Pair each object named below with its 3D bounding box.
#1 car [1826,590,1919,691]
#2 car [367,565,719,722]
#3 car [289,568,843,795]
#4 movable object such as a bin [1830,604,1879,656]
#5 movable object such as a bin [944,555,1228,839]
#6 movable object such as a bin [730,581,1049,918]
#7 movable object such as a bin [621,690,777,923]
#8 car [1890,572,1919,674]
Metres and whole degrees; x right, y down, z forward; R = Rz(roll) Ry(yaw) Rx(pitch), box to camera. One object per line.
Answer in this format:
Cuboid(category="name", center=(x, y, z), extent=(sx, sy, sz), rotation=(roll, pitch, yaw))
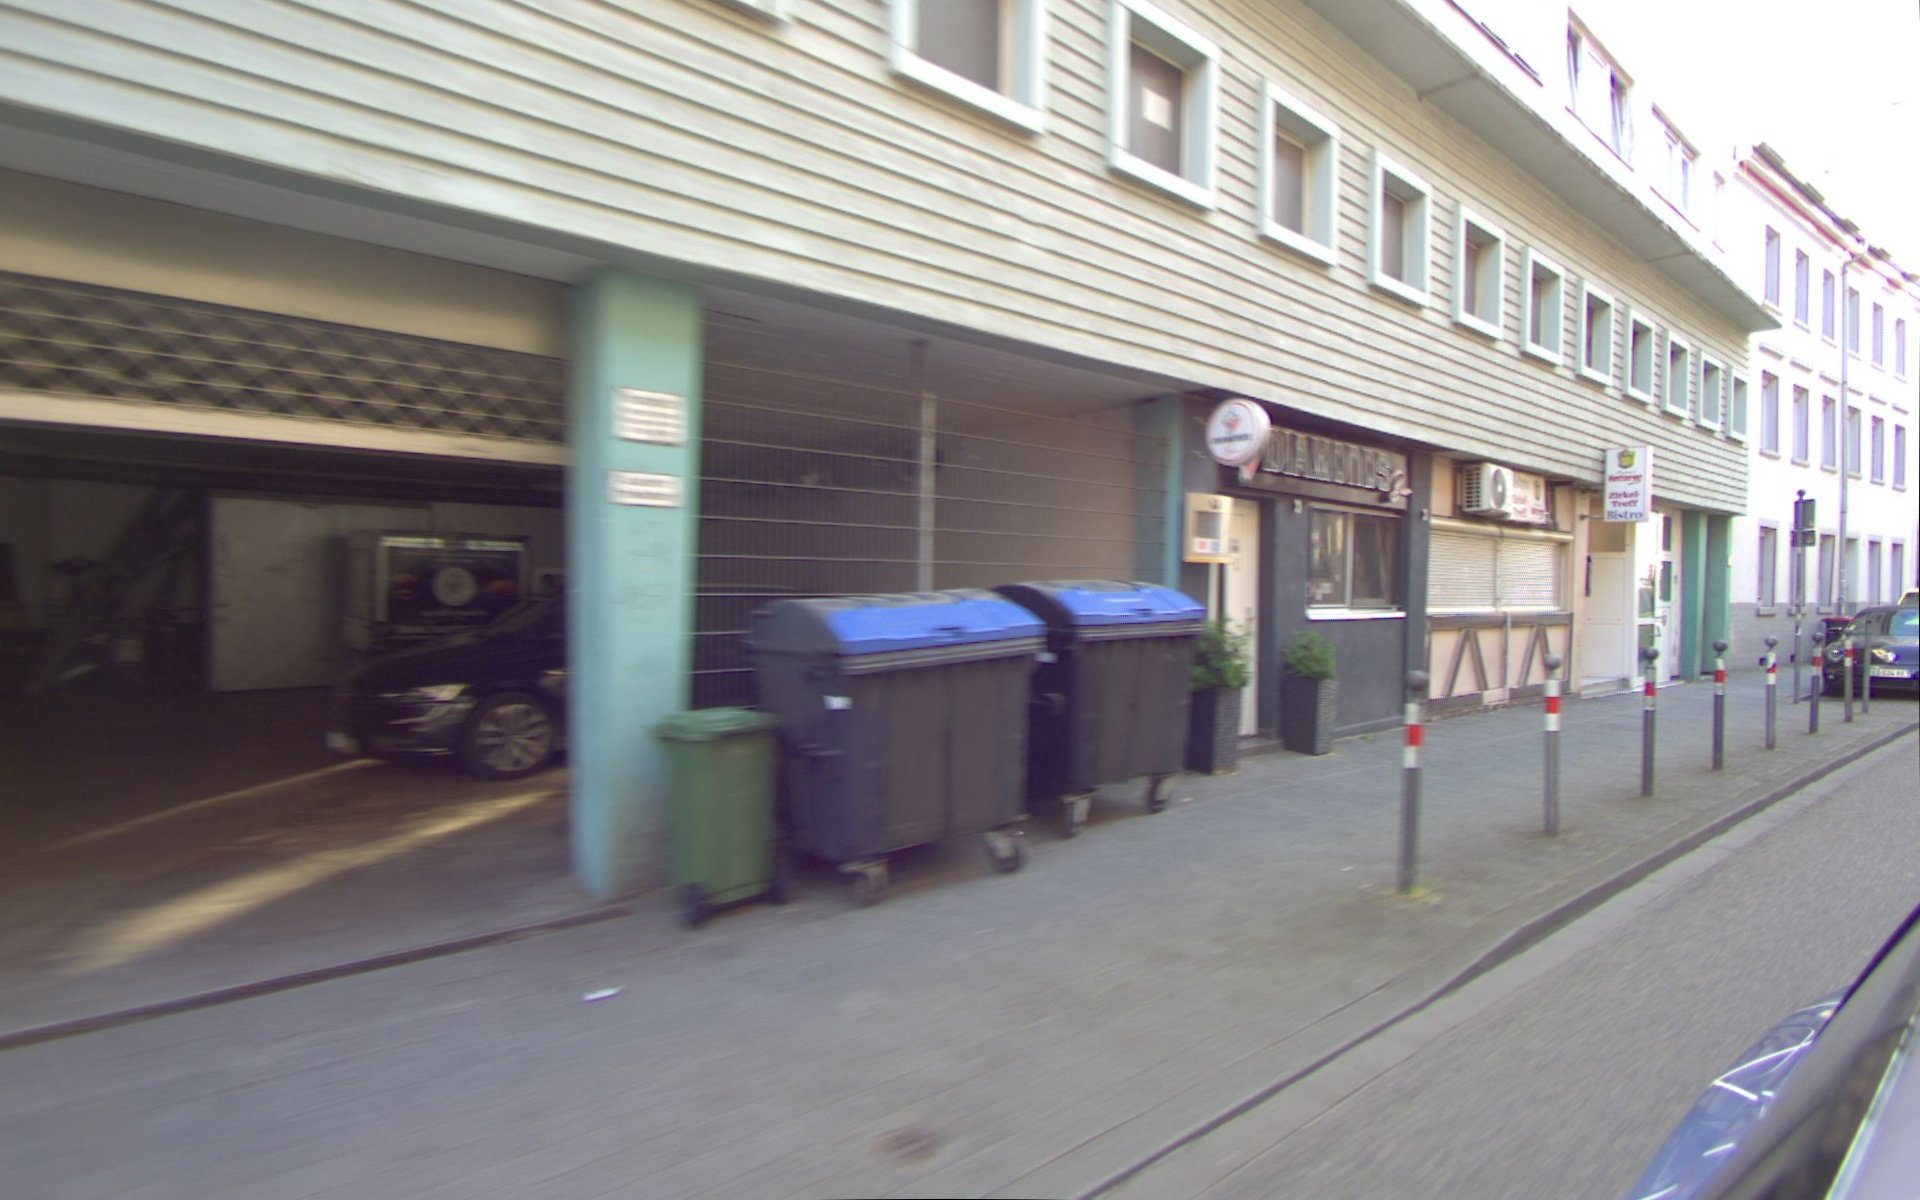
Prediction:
Cuboid(category="car", center=(15.900, 0.607, 16.624), extent=(4.290, 1.508, 1.887), rotation=(0, 0, -40))
Cuboid(category="car", center=(-4.628, 0.390, 11.461), extent=(3.341, 1.487, 1.584), rotation=(0, 2, -43))
Cuboid(category="car", center=(-3.263, 0.487, 8.968), extent=(4.212, 1.450, 1.829), rotation=(-3, 4, -44))
Cuboid(category="movable object such as a bin", center=(19.934, 0.662, 22.555), extent=(0.695, 1.063, 0.608), rotation=(0, 6, -39))
Cuboid(category="movable object such as a bin", center=(0.800, 0.488, 6.308), extent=(1.524, 1.497, 0.983), rotation=(-3, 4, -40))
Cuboid(category="movable object such as a bin", center=(-0.348, 0.637, 5.178), extent=(1.298, 1.401, 0.983), rotation=(-3, 4, -40))
Cuboid(category="movable object such as a bin", center=(-1.234, 0.933, 4.777), extent=(0.514, 0.910, 0.558), rotation=(-3, 4, -40))
Cuboid(category="car", center=(20.041, 0.433, 19.852), extent=(4.756, 1.906, 1.888), rotation=(0, 0, -38))
